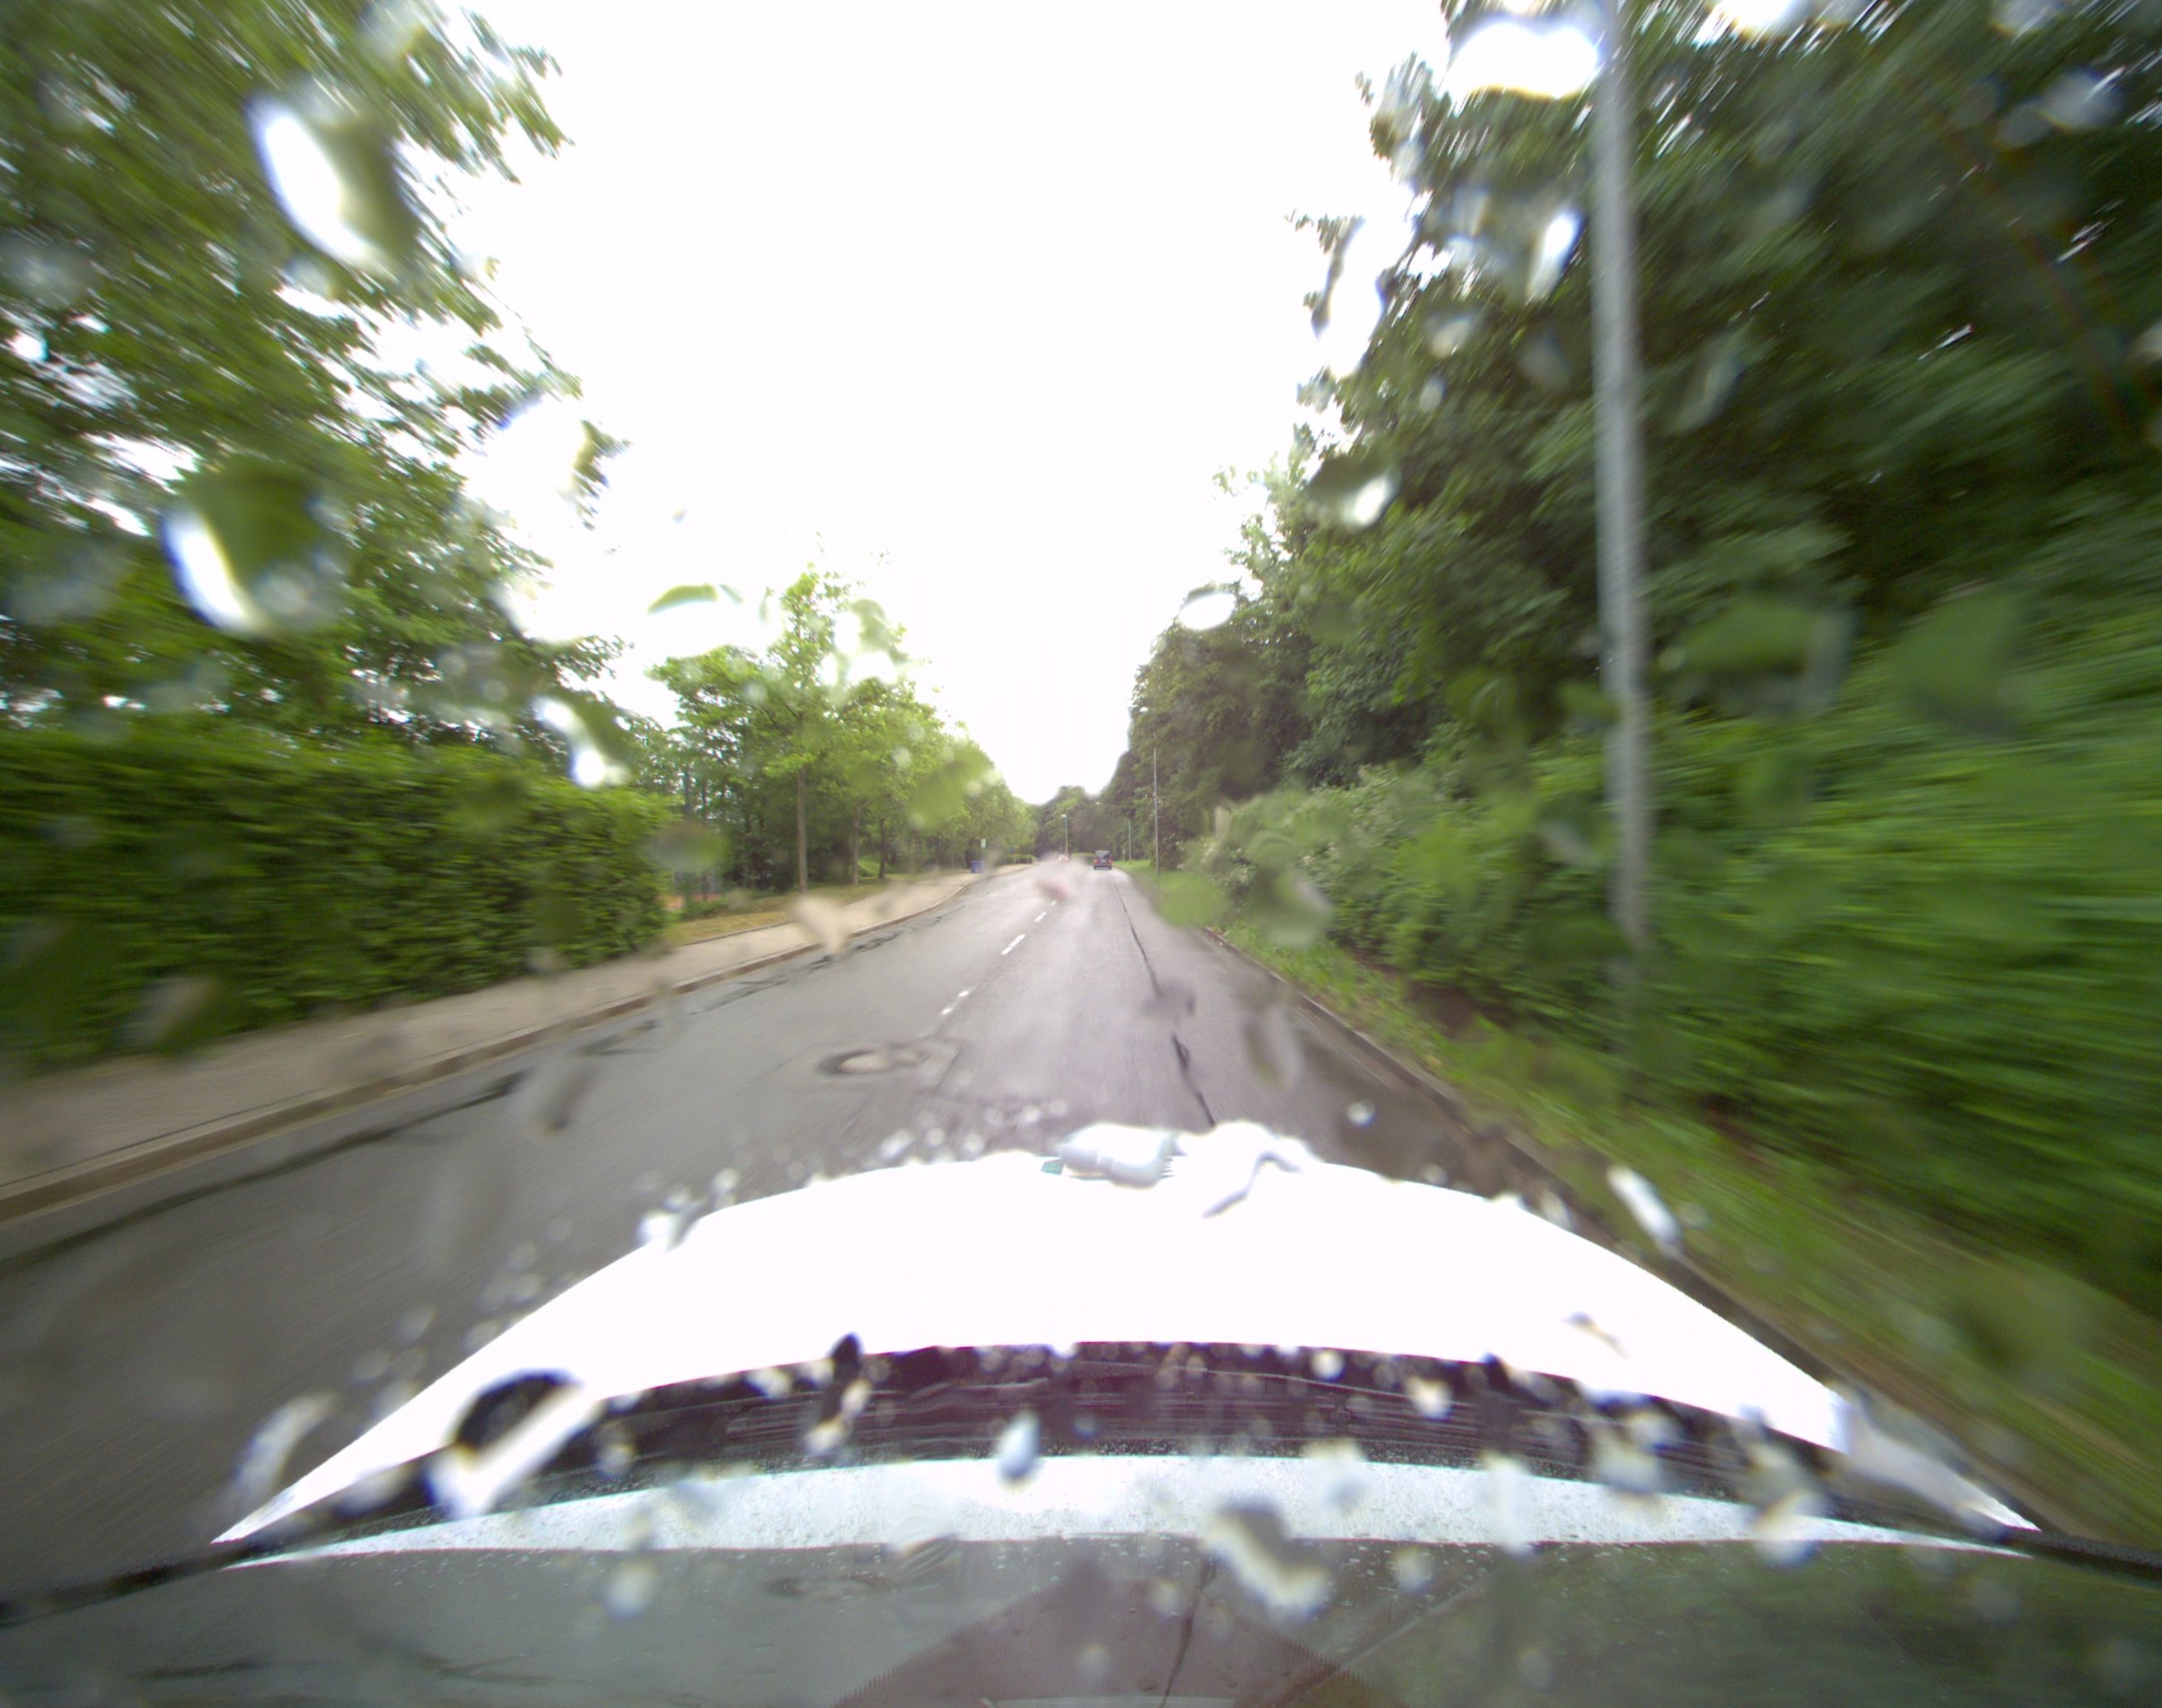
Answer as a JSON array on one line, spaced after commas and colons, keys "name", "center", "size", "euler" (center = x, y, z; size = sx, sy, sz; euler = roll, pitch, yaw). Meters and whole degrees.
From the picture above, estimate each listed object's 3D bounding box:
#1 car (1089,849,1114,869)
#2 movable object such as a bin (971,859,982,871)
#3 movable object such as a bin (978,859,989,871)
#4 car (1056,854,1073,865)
[{"name": "car", "center": [1.993, 0.501, 80.977], "size": [1.990, 1.793, 3.994], "euler": [1, 1, -5]}, {"name": "movable object such as a bin", "center": [-9.354, 1.026, 72.913], "size": [0.670, 1.026, 0.827], "euler": [-3, 0, -30]}, {"name": "movable object such as a bin", "center": [-8.763, 1.022, 73.292], "size": [0.670, 1.026, 0.827], "euler": [-3, 0, -30]}, {"name": "car", "center": [-2.762, 0.972, 138.301], "size": [1.996, 1.772, 3.981], "euler": [-2, 0, -14]}]
